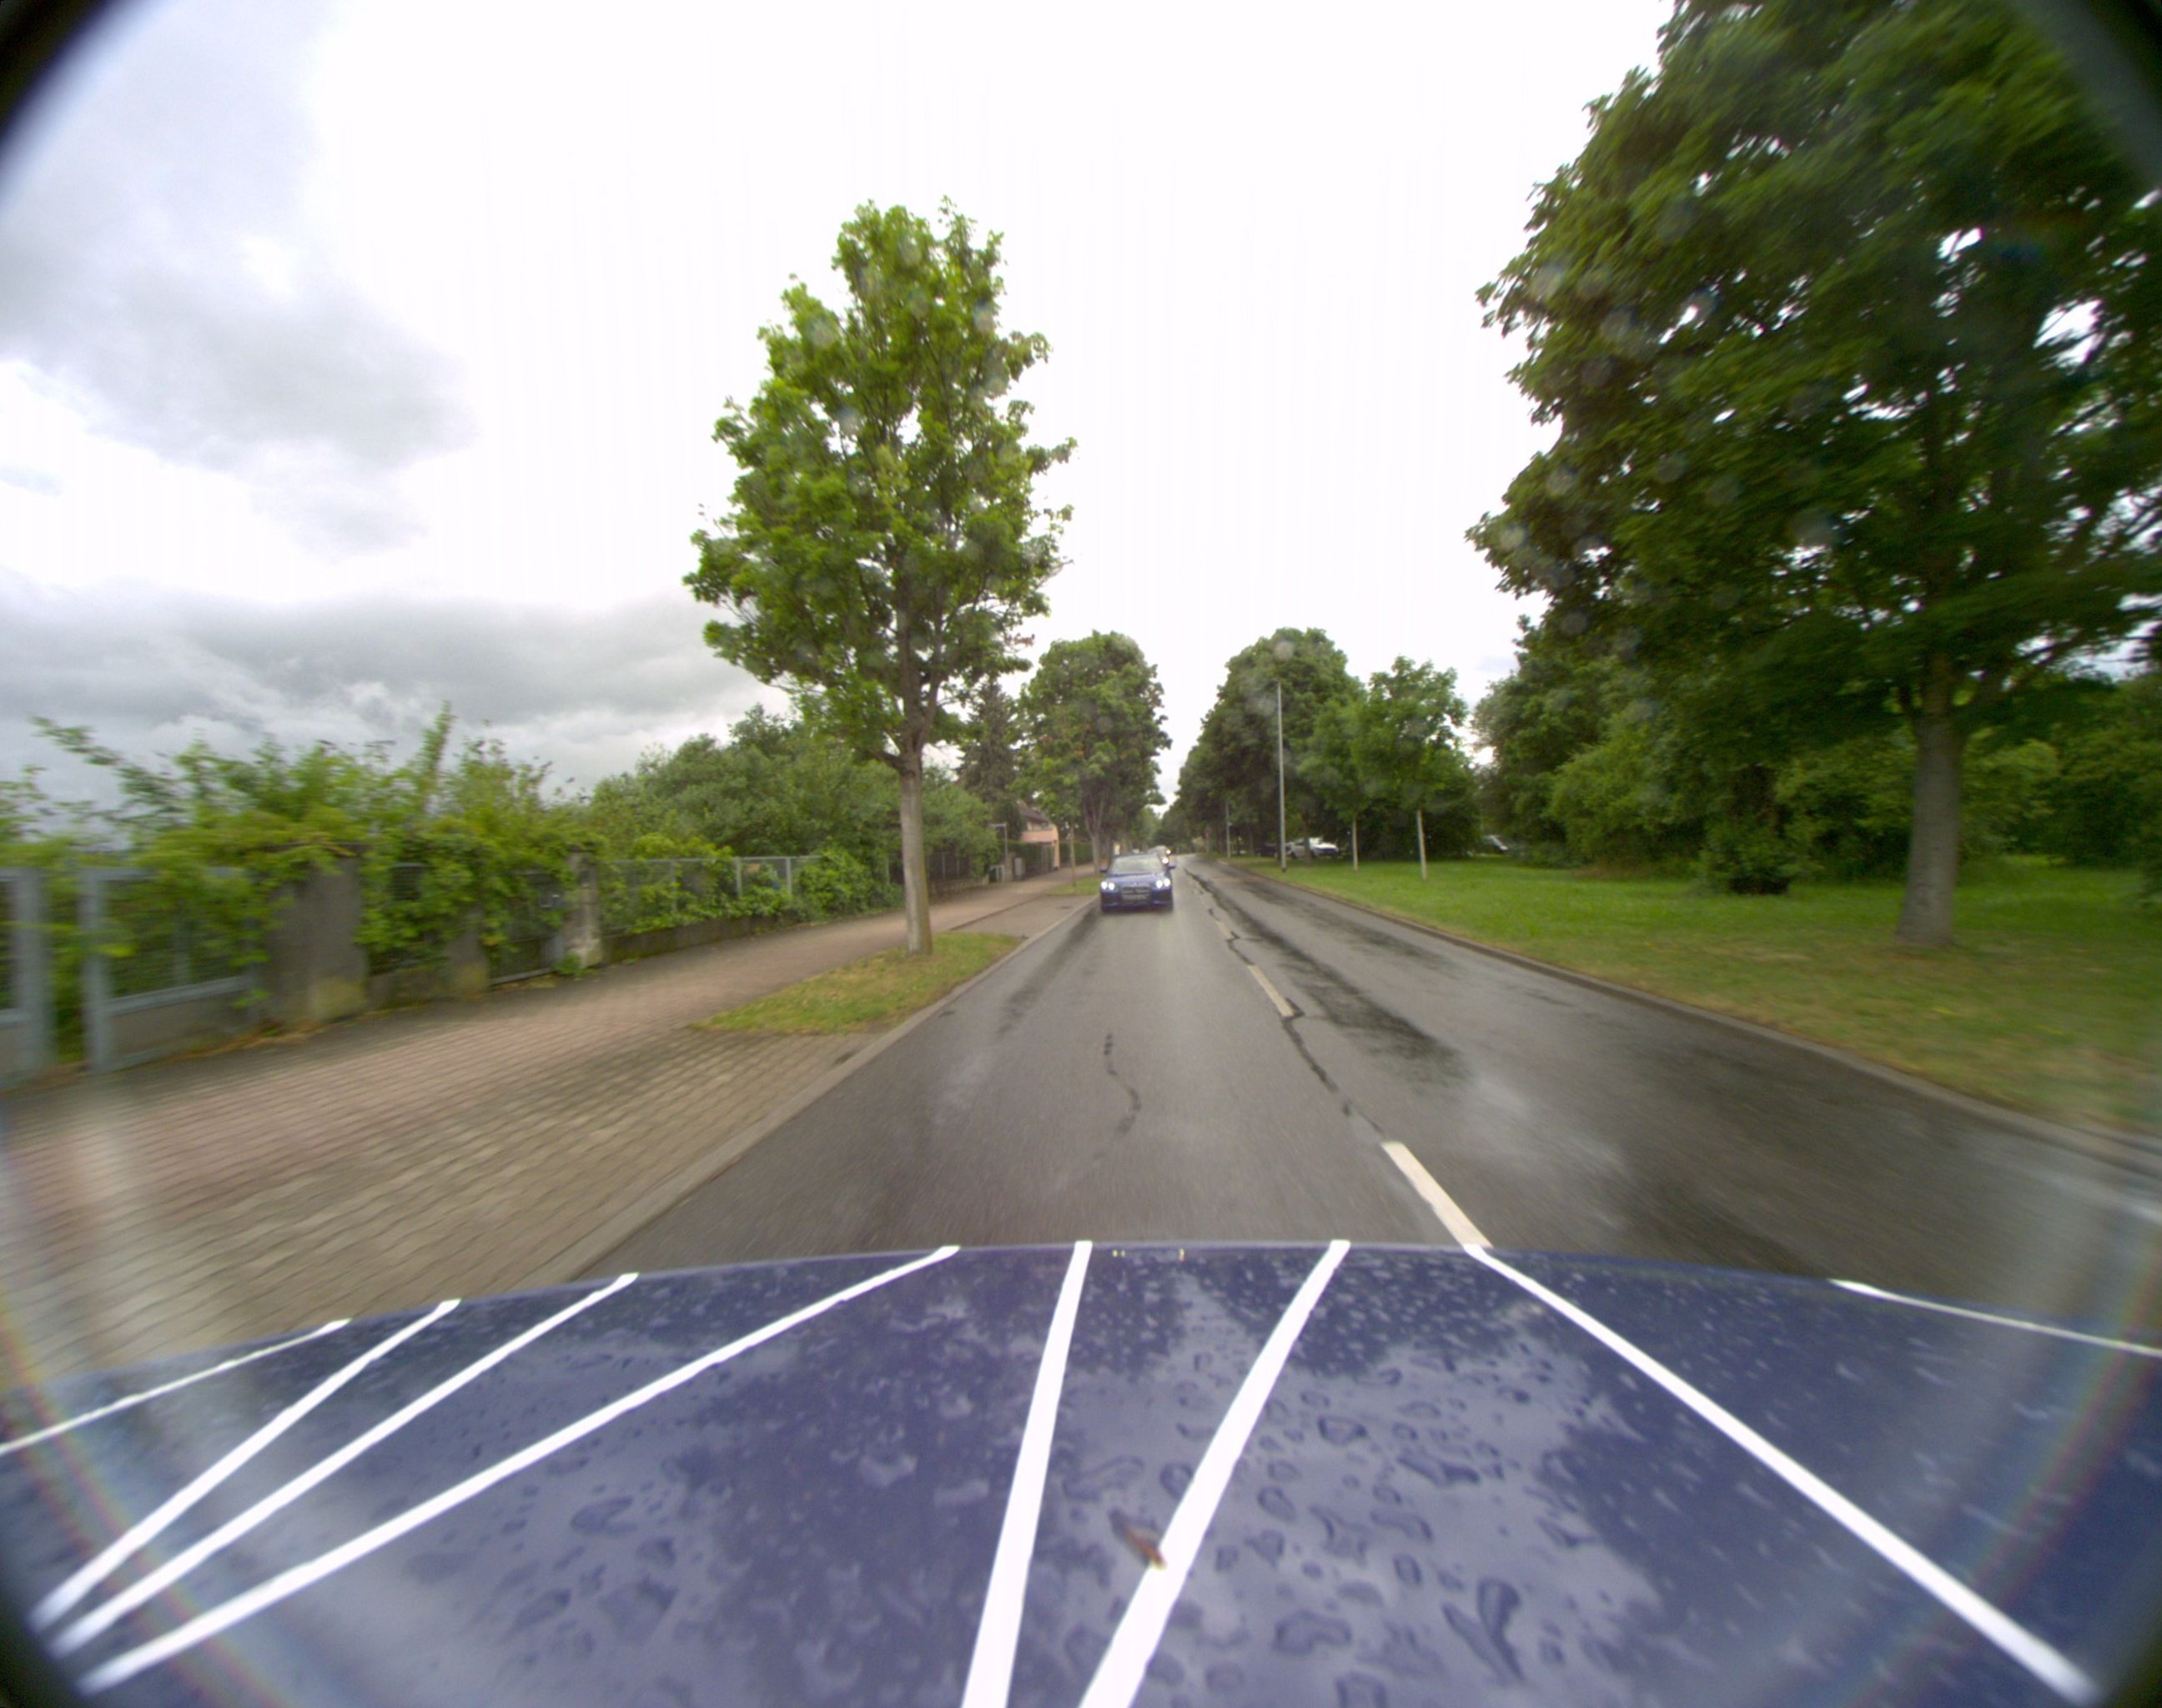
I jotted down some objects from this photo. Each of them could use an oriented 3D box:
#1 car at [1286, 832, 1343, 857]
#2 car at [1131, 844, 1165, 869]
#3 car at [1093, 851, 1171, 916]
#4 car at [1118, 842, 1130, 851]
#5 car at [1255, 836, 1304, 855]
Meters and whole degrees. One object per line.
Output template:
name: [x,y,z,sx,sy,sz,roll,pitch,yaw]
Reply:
car: [15.774,-0.618,51.503,1.887,1.421,4.214,-2,-2,-11]
car: [4.179,0.123,47.712,1.929,1.374,4.308,-5,1,4]
car: [1.471,0.720,20.557,1.814,1.459,3.976,-3,1,7]
car: [7.409,-1.248,131.605,1.665,1.414,4.002,-5,0,7]
car: [16.309,-0.709,62.627,1.896,1.505,4.242,-2,1,-18]
